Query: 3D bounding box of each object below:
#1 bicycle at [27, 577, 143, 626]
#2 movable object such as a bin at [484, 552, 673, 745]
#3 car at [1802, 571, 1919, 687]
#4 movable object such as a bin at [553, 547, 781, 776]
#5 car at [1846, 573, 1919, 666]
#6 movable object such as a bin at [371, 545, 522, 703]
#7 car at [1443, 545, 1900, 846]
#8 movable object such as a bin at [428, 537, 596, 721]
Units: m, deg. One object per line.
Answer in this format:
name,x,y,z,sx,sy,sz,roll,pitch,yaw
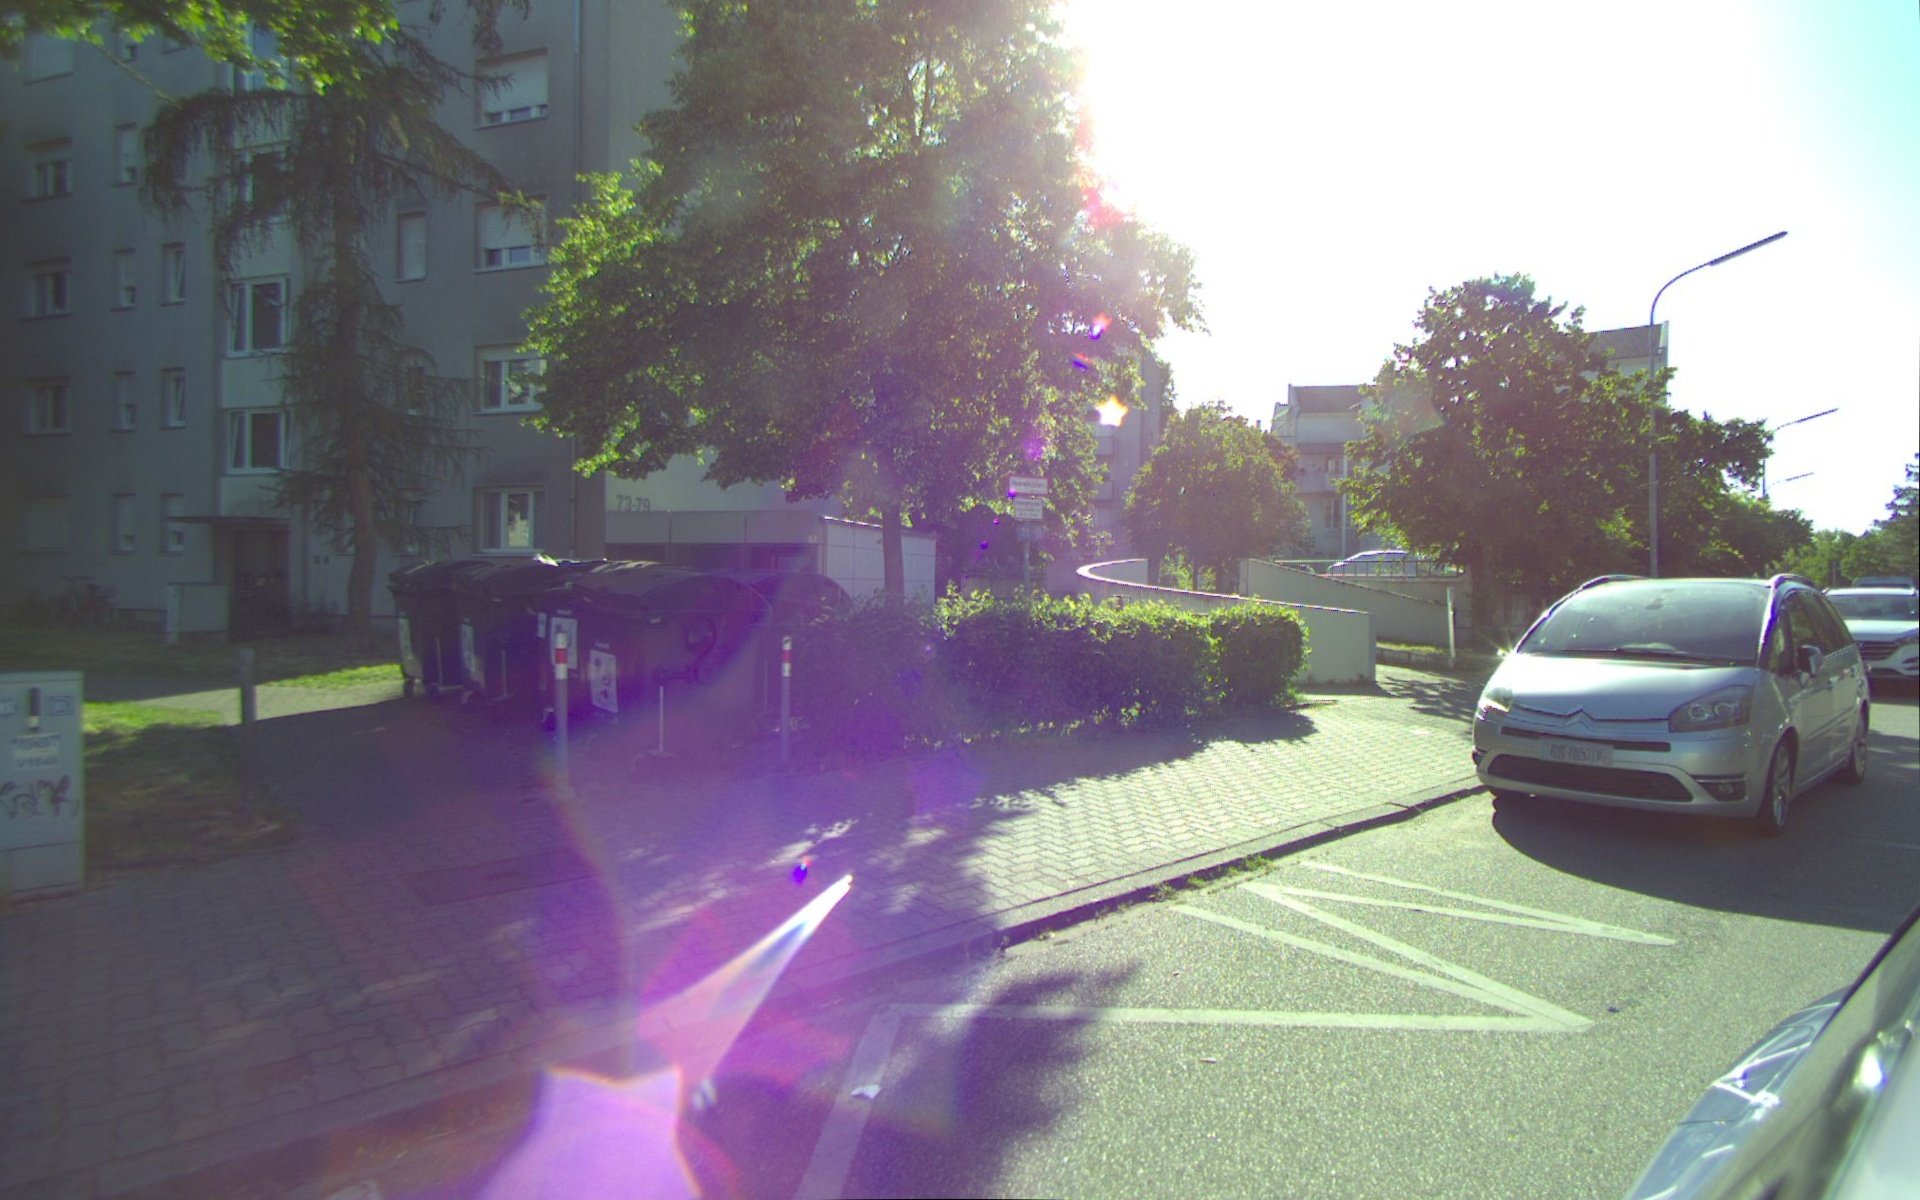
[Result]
bicycle,-16.979,0.012,19.626,2.385,0.853,0.544,2,1,18
movable object such as a bin,-3.181,0.347,8.420,1.324,1.449,1.013,1,1,44
car,15.191,0.396,16.574,4.341,1.695,1.755,-1,1,-45
movable object such as a bin,-2.150,0.370,7.374,1.325,1.445,1.053,5,3,44
car,19.030,0.339,20.190,3.918,1.707,1.755,-1,1,-45
movable object such as a bin,-5.304,0.210,10.440,1.322,1.499,1.013,1,1,44
car,5.539,0.490,7.644,4.415,1.647,1.758,-1,1,-40
movable object such as a bin,-4.172,0.234,9.415,1.324,1.556,1.013,1,1,44
